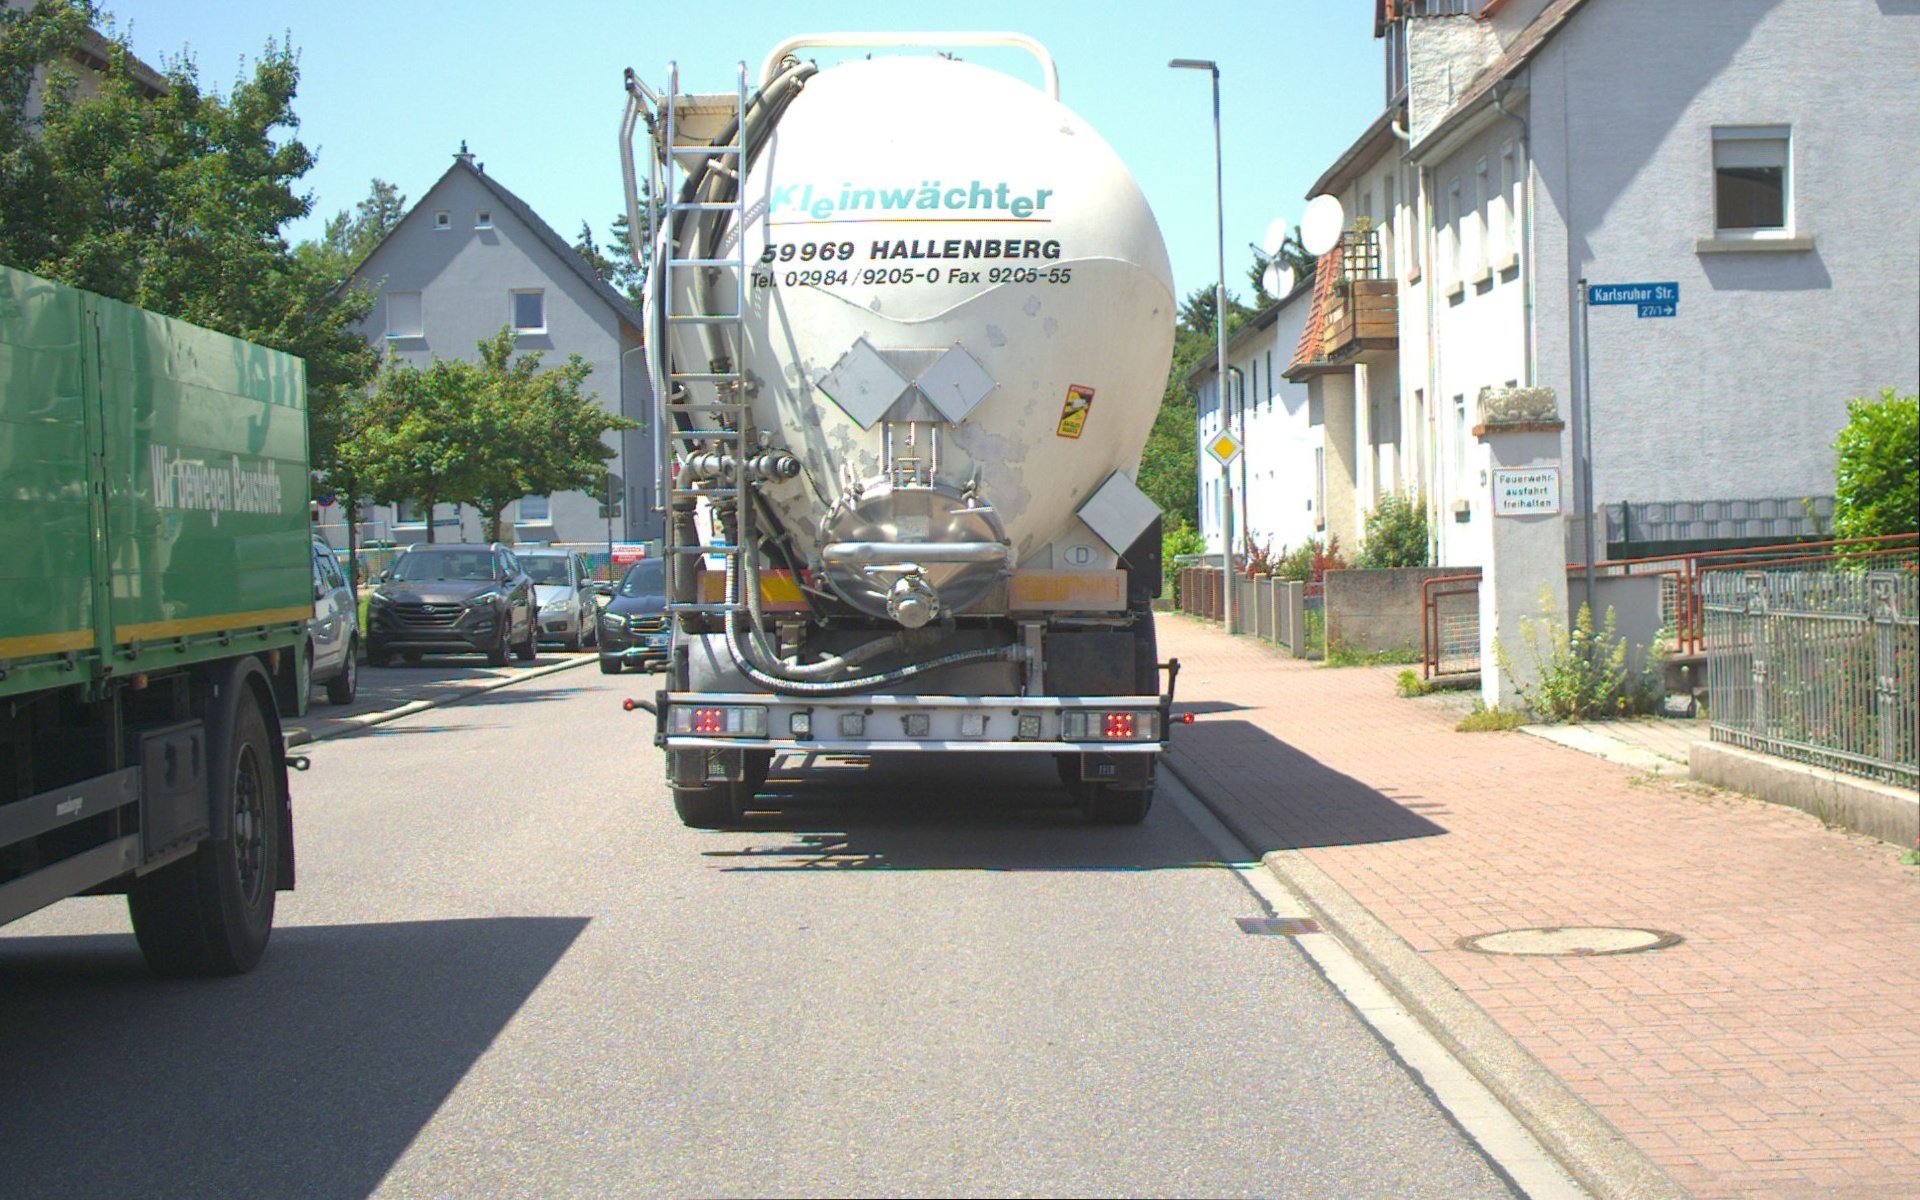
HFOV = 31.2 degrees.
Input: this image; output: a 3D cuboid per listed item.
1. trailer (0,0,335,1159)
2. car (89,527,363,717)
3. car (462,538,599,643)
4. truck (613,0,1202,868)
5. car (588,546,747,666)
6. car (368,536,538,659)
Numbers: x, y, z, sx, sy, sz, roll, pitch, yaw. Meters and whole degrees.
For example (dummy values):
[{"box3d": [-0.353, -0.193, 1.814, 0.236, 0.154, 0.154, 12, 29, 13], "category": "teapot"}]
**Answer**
[{"box3d": [-3.669, -0.445, 9.317, 2.530, 3.636, 8.462, -1, 1, -1], "category": "trailer"}, {"box3d": [-6.878, 0.157, 32.647, 1.706, 1.681, 4.526, 0, 1, -1], "category": "car"}, {"box3d": [-6.663, -0.174, 53.643, 1.697, 1.575, 3.838, 0, 1, -1], "category": "car"}, {"box3d": [-0.338, -0.884, 20.220, 2.641, 4.002, 9.562, 0, 1, -1], "category": "truck"}, {"box3d": [-3.814, 0.040, 45.495, 1.730, 1.455, 4.695, -2, 1, -1], "category": "car"}, {"box3d": [-6.876, -0.066, 46.939, 1.692, 1.614, 3.997, 0, 1, 1], "category": "car"}]
